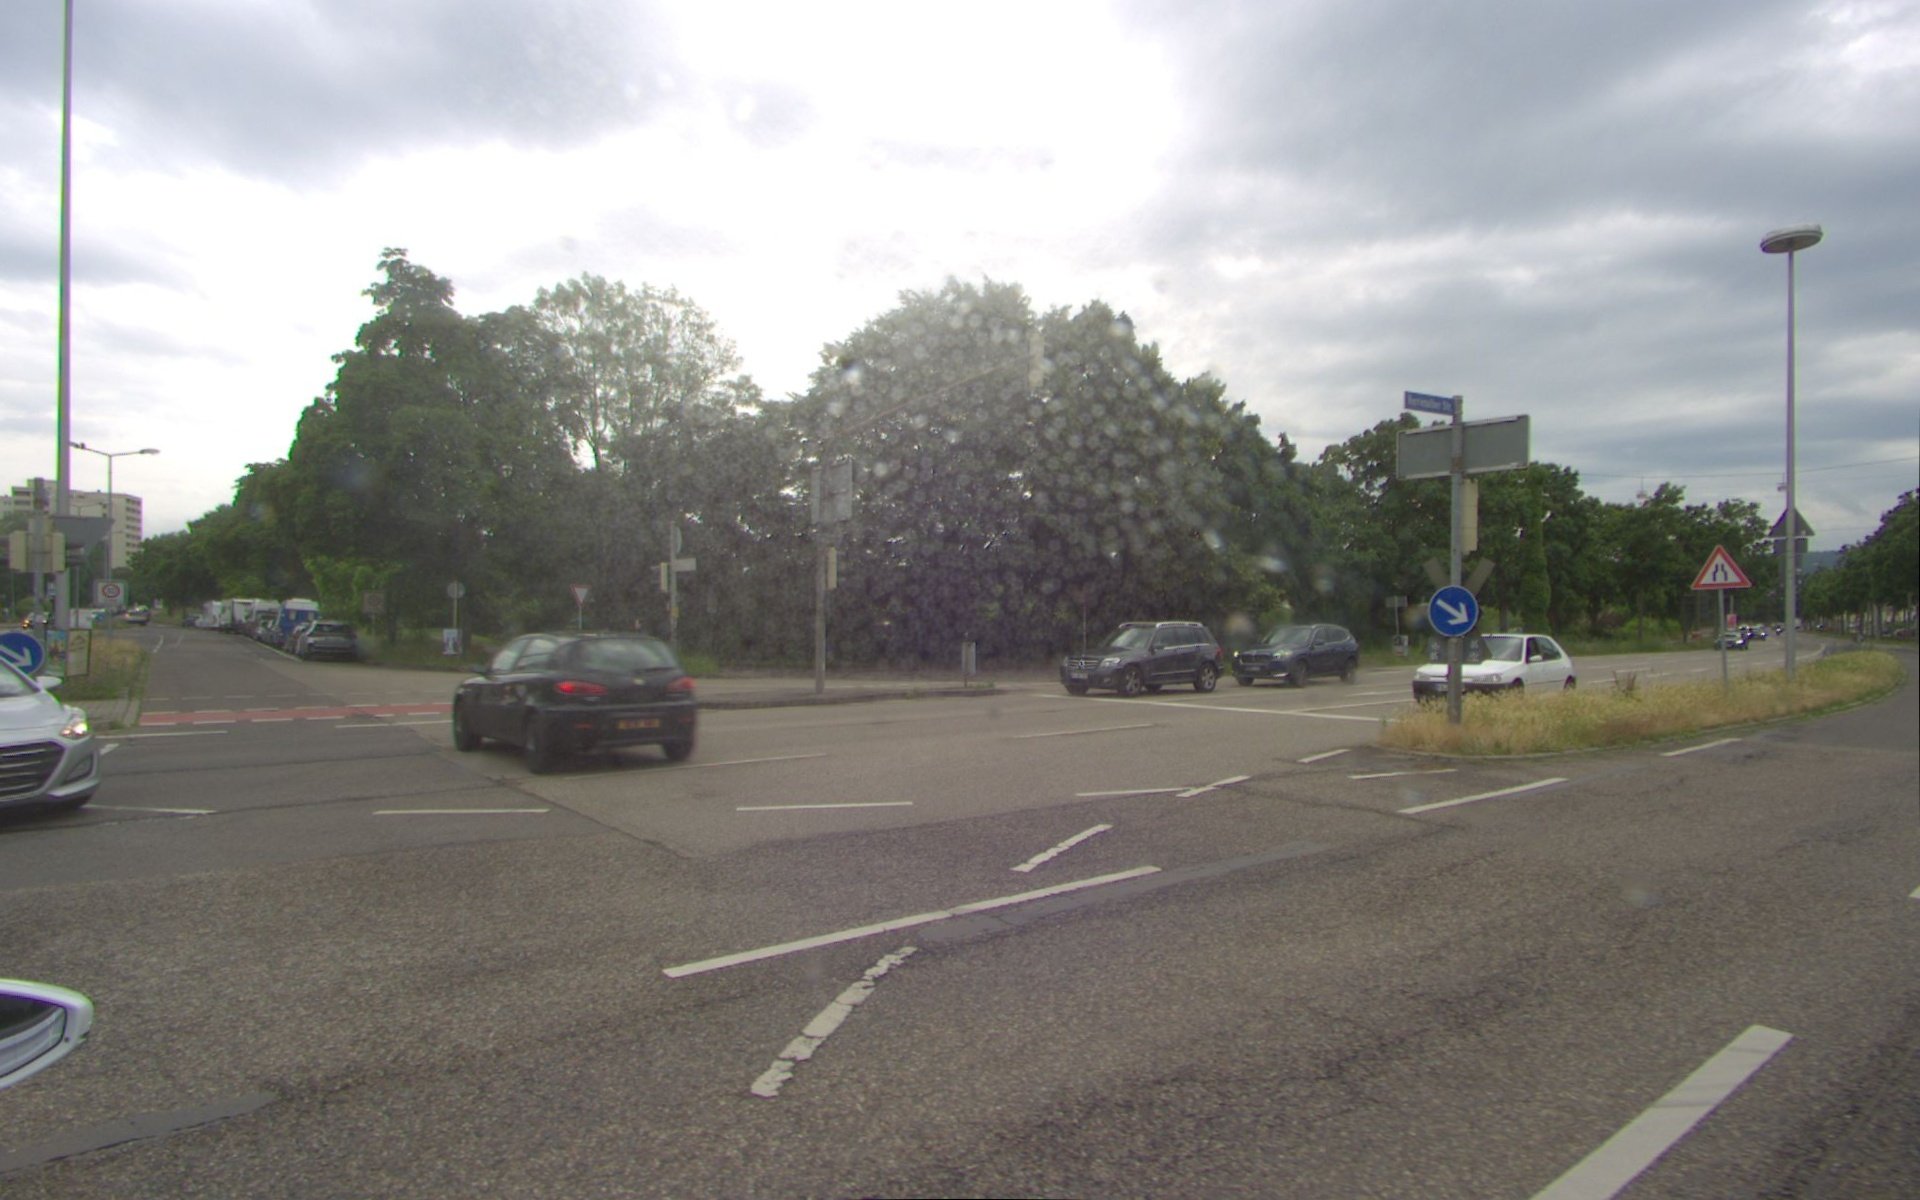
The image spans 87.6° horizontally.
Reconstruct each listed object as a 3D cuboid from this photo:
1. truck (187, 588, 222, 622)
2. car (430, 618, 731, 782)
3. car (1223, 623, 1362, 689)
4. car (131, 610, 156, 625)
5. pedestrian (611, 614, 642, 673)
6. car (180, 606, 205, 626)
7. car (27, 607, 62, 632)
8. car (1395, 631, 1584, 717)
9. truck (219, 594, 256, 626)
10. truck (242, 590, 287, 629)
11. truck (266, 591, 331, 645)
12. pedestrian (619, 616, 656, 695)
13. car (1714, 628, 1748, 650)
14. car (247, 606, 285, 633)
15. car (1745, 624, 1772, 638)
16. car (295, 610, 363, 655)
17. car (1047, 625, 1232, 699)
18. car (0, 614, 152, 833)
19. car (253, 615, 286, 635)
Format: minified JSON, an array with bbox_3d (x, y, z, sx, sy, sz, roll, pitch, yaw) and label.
[{"bbox_3d":[-69.497,0.520,92.056,1.980,3.048,5.717,1,-1,-43],"label":"truck"},{"bbox_3d":[-4.576,0.976,11.644,1.785,1.476,4.499,1,-1,-42],"label":"car"},{"bbox_3d":[9.017,1.450,27.045,3.958,1.639,1.861,1,-1,-42],"label":"car"},{"bbox_3d":[-88.385,1.902,108.346,2.005,1.525,3.965,1,-1,-40],"label":"car"},{"bbox_3d":[-7.819,1.010,23.465,0.523,1.359,0.520,1,0,-41],"label":"pedestrian"},{"bbox_3d":[-79.850,1.630,104.165,1.641,1.944,3.879,1,0,-44],"label":"car"},{"bbox_3d":[-79.023,1.683,86.498,1.978,2.040,3.967,1,-1,-39],"label":"car"},{"bbox_3d":[9.764,1.266,18.330,4.104,1.375,1.633,1,-1,-40],"label":"car"},{"bbox_3d":[-61.352,0.889,84.955,1.980,2.606,5.329,1,-1,-42],"label":"truck"},{"bbox_3d":[-53.031,0.737,76.325,1.981,2.875,5.675,1,-1,-44],"label":"truck"},{"bbox_3d":[-35.231,0.947,53.261,2.158,2.691,6.193,0,-1,-40],"label":"truck"},{"bbox_3d":[-7.385,1.260,22.929,0.652,1.773,0.455,1,0,-41],"label":"pedestrian"},{"bbox_3d":[58.247,2.924,75.633,1.643,1.550,3.857,0,-1,43],"label":"car"},{"bbox_3d":[-47.533,1.297,68.559,1.707,1.783,3.963,1,-1,-42],"label":"car"},{"bbox_3d":[89.512,3.472,112.197,3.958,1.594,1.744,1,-1,-42],"label":"car"},{"bbox_3d":[-25.202,1.260,39.926,1.770,1.683,3.965,1,-1,-40],"label":"car"},{"bbox_3d":[4.237,1.367,23.316,4.430,1.523,1.830,1,-1,-40],"label":"car"},{"bbox_3d":[-8.696,0.878,8.069,4.256,1.539,1.789,0,-1,26],"label":"car"},{"bbox_3d":[-45.032,1.617,65.303,1.315,1.206,3.619,1,-1,-42],"label":"car"}]
